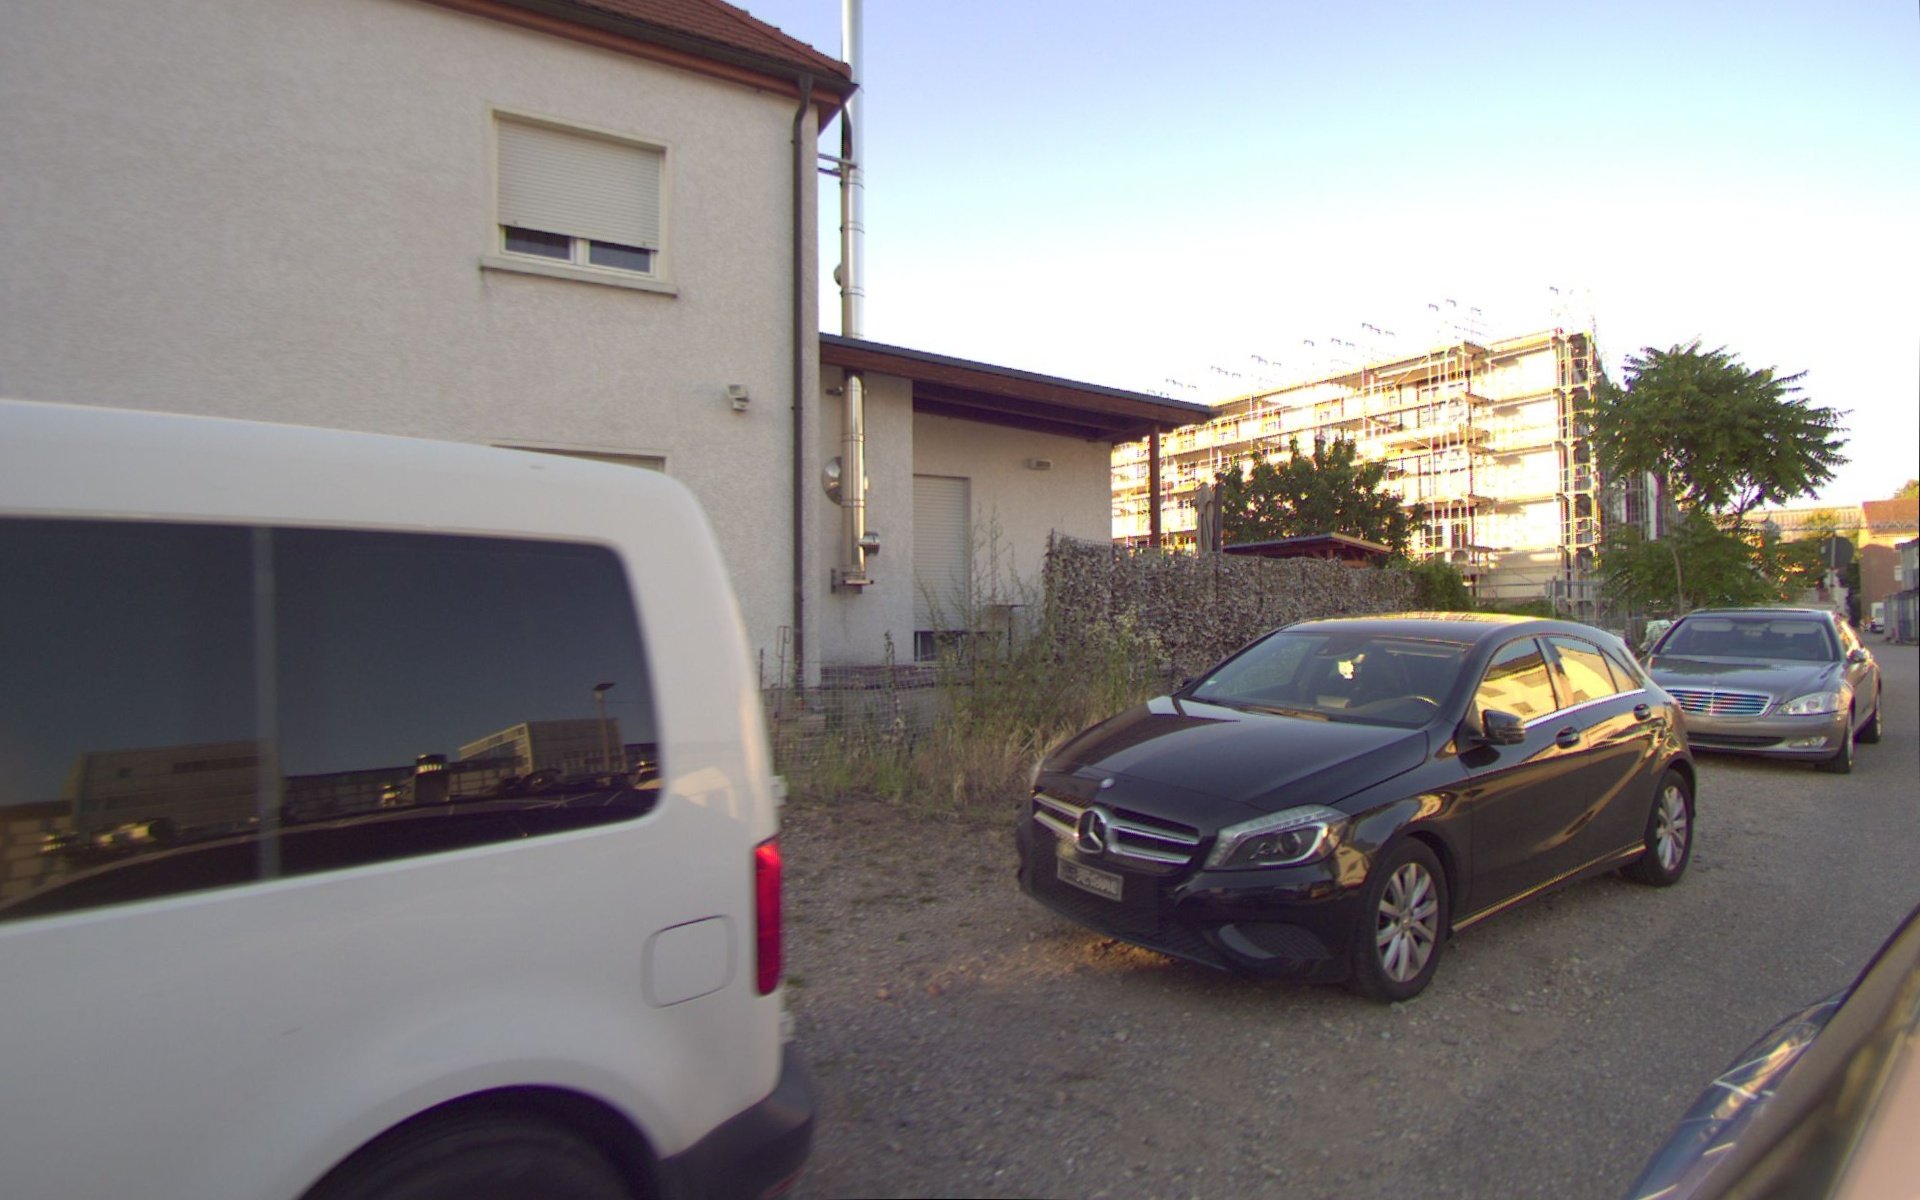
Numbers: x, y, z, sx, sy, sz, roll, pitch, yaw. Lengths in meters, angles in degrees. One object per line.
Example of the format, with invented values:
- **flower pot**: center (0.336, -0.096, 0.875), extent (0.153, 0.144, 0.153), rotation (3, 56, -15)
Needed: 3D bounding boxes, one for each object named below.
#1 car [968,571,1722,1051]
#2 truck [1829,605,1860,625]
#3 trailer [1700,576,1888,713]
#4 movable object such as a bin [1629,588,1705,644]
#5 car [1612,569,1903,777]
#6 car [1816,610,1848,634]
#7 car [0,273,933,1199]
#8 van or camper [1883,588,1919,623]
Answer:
- **car**: center (2.143, 0.694, 5.152), extent (4.012, 1.538, 1.709), rotation (0, -1, -37)
- **truck**: center (95.612, 1.617, 109.430), extent (1.828, 2.129, 3.697), rotation (-4, -3, 32)
- **trailer**: center (13.017, 0.591, 15.670), extent (4.855, 1.800, 1.732), rotation (1, 0, -44)
- **movable object such as a bin**: center (31.583, 0.702, 45.070), extent (2.062, 2.303, 8.245), rotation (-1, -1, 40)
- **car**: center (8.684, 0.612, 10.827), extent (4.846, 1.746, 1.807), rotation (1, 0, -44)
- **car**: center (64.232, 1.611, 74.582), extent (1.667, 1.641, 4.224), rotation (-2, -2, 39)
- **car**: center (-2.300, 0.527, 1.461), extent (4.327, 1.854, 1.775), rotation (1, -1, -38)
- **van or camper**: center (78.781, 0.342, 81.442), extent (6.445, 2.675, 2.371), rotation (-5, -4, 41)
